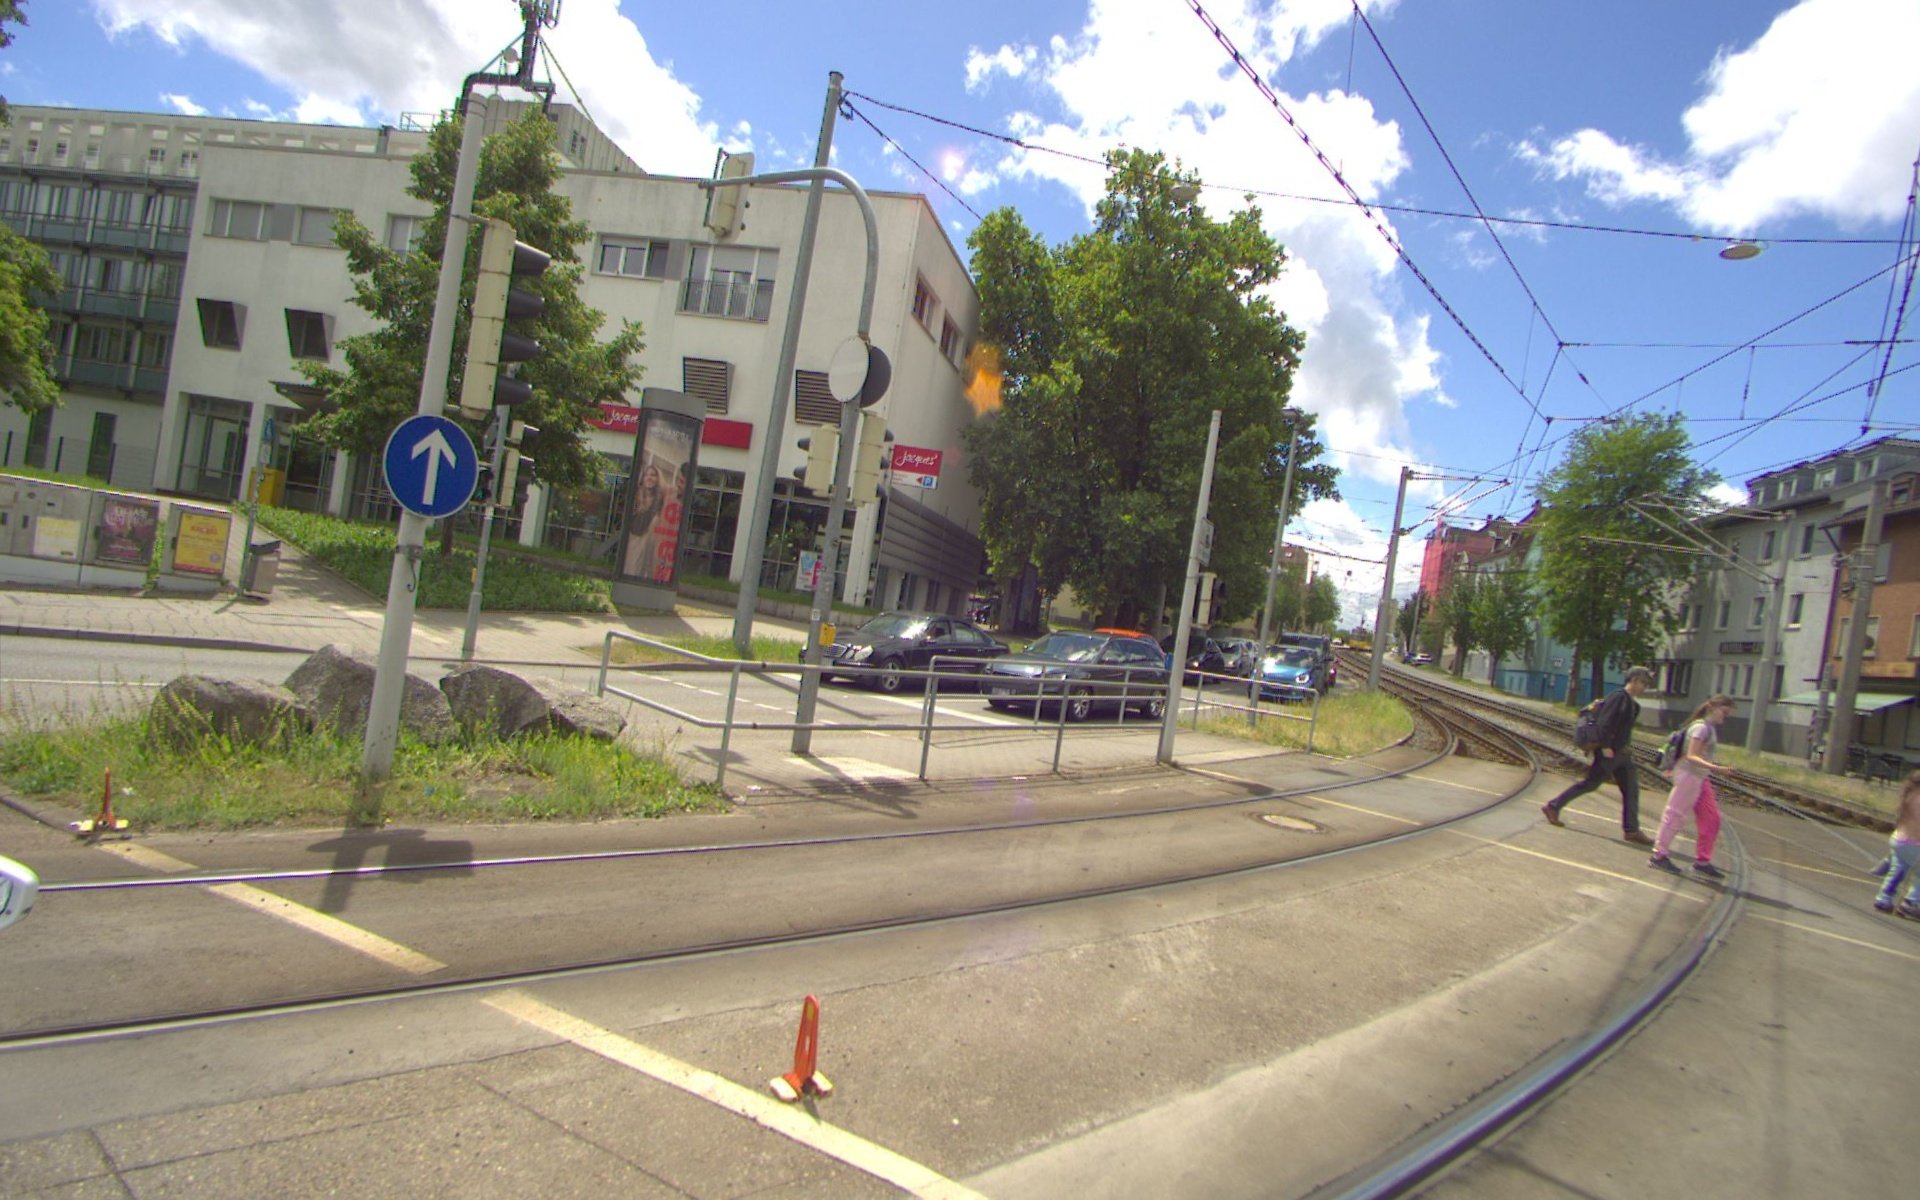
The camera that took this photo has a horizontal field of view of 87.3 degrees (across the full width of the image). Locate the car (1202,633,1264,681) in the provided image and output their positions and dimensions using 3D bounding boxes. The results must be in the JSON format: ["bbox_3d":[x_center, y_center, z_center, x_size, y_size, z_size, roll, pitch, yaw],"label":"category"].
[{"bbox_3d":[11.437,2.381,41.966,1.963,1.638,4.001,8,0,20],"label":"car"}]

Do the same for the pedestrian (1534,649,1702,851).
[{"bbox_3d":[6.812,1.523,10.469,0.812,1.864,0.965,8,0,-11],"label":"pedestrian"}]

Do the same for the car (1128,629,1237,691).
[{"bbox_3d":[6.883,1.867,30.832,1.871,1.481,3.993,8,-1,32],"label":"car"}]

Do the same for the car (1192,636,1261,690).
[{"bbox_3d":[9.829,2.302,36.851,1.963,1.602,4.001,7,-1,19],"label":"car"}]

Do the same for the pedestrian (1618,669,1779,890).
[{"bbox_3d":[6.491,1.567,8.861,0.743,1.771,0.688,8,1,-26],"label":"pedestrian"}]

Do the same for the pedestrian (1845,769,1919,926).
[{"bbox_3d":[8.050,2.082,8.398,0.579,1.181,0.672,8,0,-18],"label":"pedestrian"}]

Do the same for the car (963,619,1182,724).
[{"bbox_3d":[2.057,1.242,17.440,1.715,1.456,4.074,6,0,40],"label":"car"}]

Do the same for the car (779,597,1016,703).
[{"bbox_3d":[-1.019,0.984,18.590,2.020,1.482,4.314,7,-1,34],"label":"car"}]

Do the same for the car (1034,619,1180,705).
[{"bbox_3d":[3.819,1.618,25.557,1.968,1.661,3.993,8,-2,34],"label":"car"}]

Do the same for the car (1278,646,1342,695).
[{"bbox_3d":[13.874,2.788,39.725,1.979,1.573,4.000,8,-1,23],"label":"car"}]

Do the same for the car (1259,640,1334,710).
[{"bbox_3d":[11.148,2.447,33.130,1.818,1.903,4.149,8,-1,23],"label":"car"}]

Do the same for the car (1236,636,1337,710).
[{"bbox_3d":[9.191,2.060,28.092,1.894,1.658,3.997,8,-1,27],"label":"car"}]
